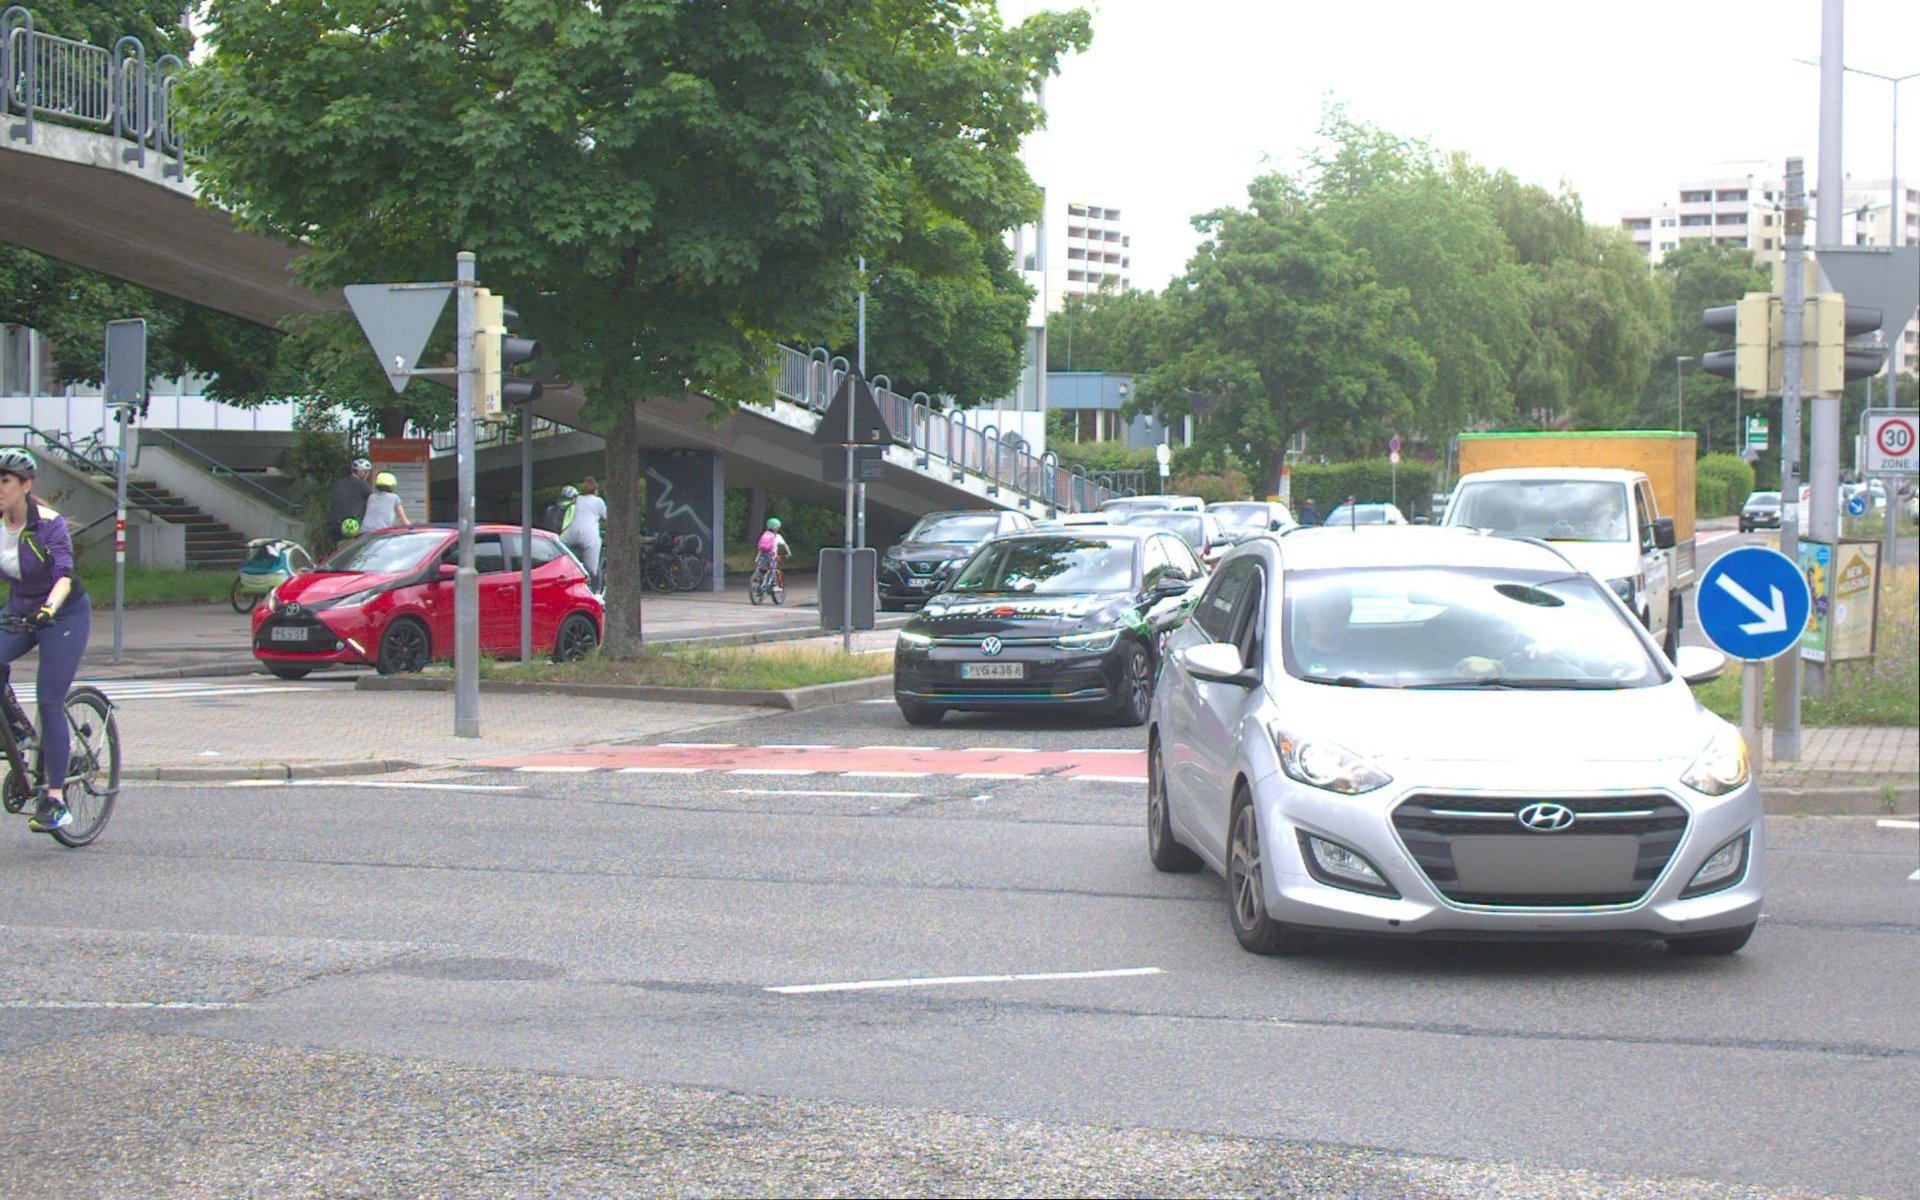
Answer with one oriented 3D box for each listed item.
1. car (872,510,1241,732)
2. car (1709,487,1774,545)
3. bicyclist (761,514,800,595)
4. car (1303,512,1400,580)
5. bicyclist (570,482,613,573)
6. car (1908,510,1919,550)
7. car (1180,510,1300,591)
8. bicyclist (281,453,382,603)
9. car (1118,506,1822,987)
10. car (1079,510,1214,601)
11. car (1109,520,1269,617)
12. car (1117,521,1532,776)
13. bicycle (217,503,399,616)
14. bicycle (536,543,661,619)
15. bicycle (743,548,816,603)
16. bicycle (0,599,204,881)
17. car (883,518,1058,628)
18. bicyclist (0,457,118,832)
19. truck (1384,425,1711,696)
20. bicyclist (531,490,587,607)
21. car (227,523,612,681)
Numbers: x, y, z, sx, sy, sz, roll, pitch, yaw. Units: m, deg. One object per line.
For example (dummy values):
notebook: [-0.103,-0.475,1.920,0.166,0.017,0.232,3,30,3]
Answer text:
car: [0.824,0.082,25.790,1.771,1.472,4.387,1,2,15]
car: [27.863,-3.010,122.514,1.995,2.006,3.997,1,2,16]
bicyclist: [-2.729,-0.695,52.323,0.431,1.213,0.567,1,2,14]
car: [9.415,-1.313,82.375,1.673,1.546,3.997,1,2,16]
bicyclist: [-4.869,-0.960,45.450,0.405,1.177,0.377,3,3,17]
car: [38.015,-2.726,133.906,2.022,1.500,3.998,1,2,15]
car: [5.724,-1.027,69.834,1.673,1.546,3.997,1,2,16]
bicyclist: [-8.048,-0.933,44.067,0.857,1.886,1.127,1,3,17]
car: [1.743,0.418,13.218,1.789,1.514,4.326,1,2,-4]
car: [3.445,-0.842,62.961,1.673,1.546,3.759,1,2,16]
car: [3.384,-0.488,50.442,1.560,1.341,2.969,1,2,20]
car: [2.487,0.219,22.321,1.898,1.415,4.733,1,2,16]
bicycle: [-8.212,-0.536,43.497,0.857,1.310,3.227,1,3,17]
bicycle: [-4.769,-0.258,45.519,0.763,0.946,1.951,1,2,24]
bicycle: [-2.739,-0.381,52.280,0.510,0.775,1.839,1,2,17]
bicycle: [-4.150,0.587,14.940,0.727,1.097,2.263,1,2,15]
car: [0.205,-0.447,52.642,1.673,1.546,3.889,1,2,16]
bicyclist: [-4.150,0.176,14.967,0.679,1.589,0.694,1,1,15]
truck: [5.430,-0.426,31.111,2.157,2.191,5.836,1,2,17]
bicyclist: [-5.664,-0.734,48.564,0.566,1.638,0.530,1,1,31]
car: [-5.041,-0.011,32.392,1.515,1.385,3.525,2,2,36]
